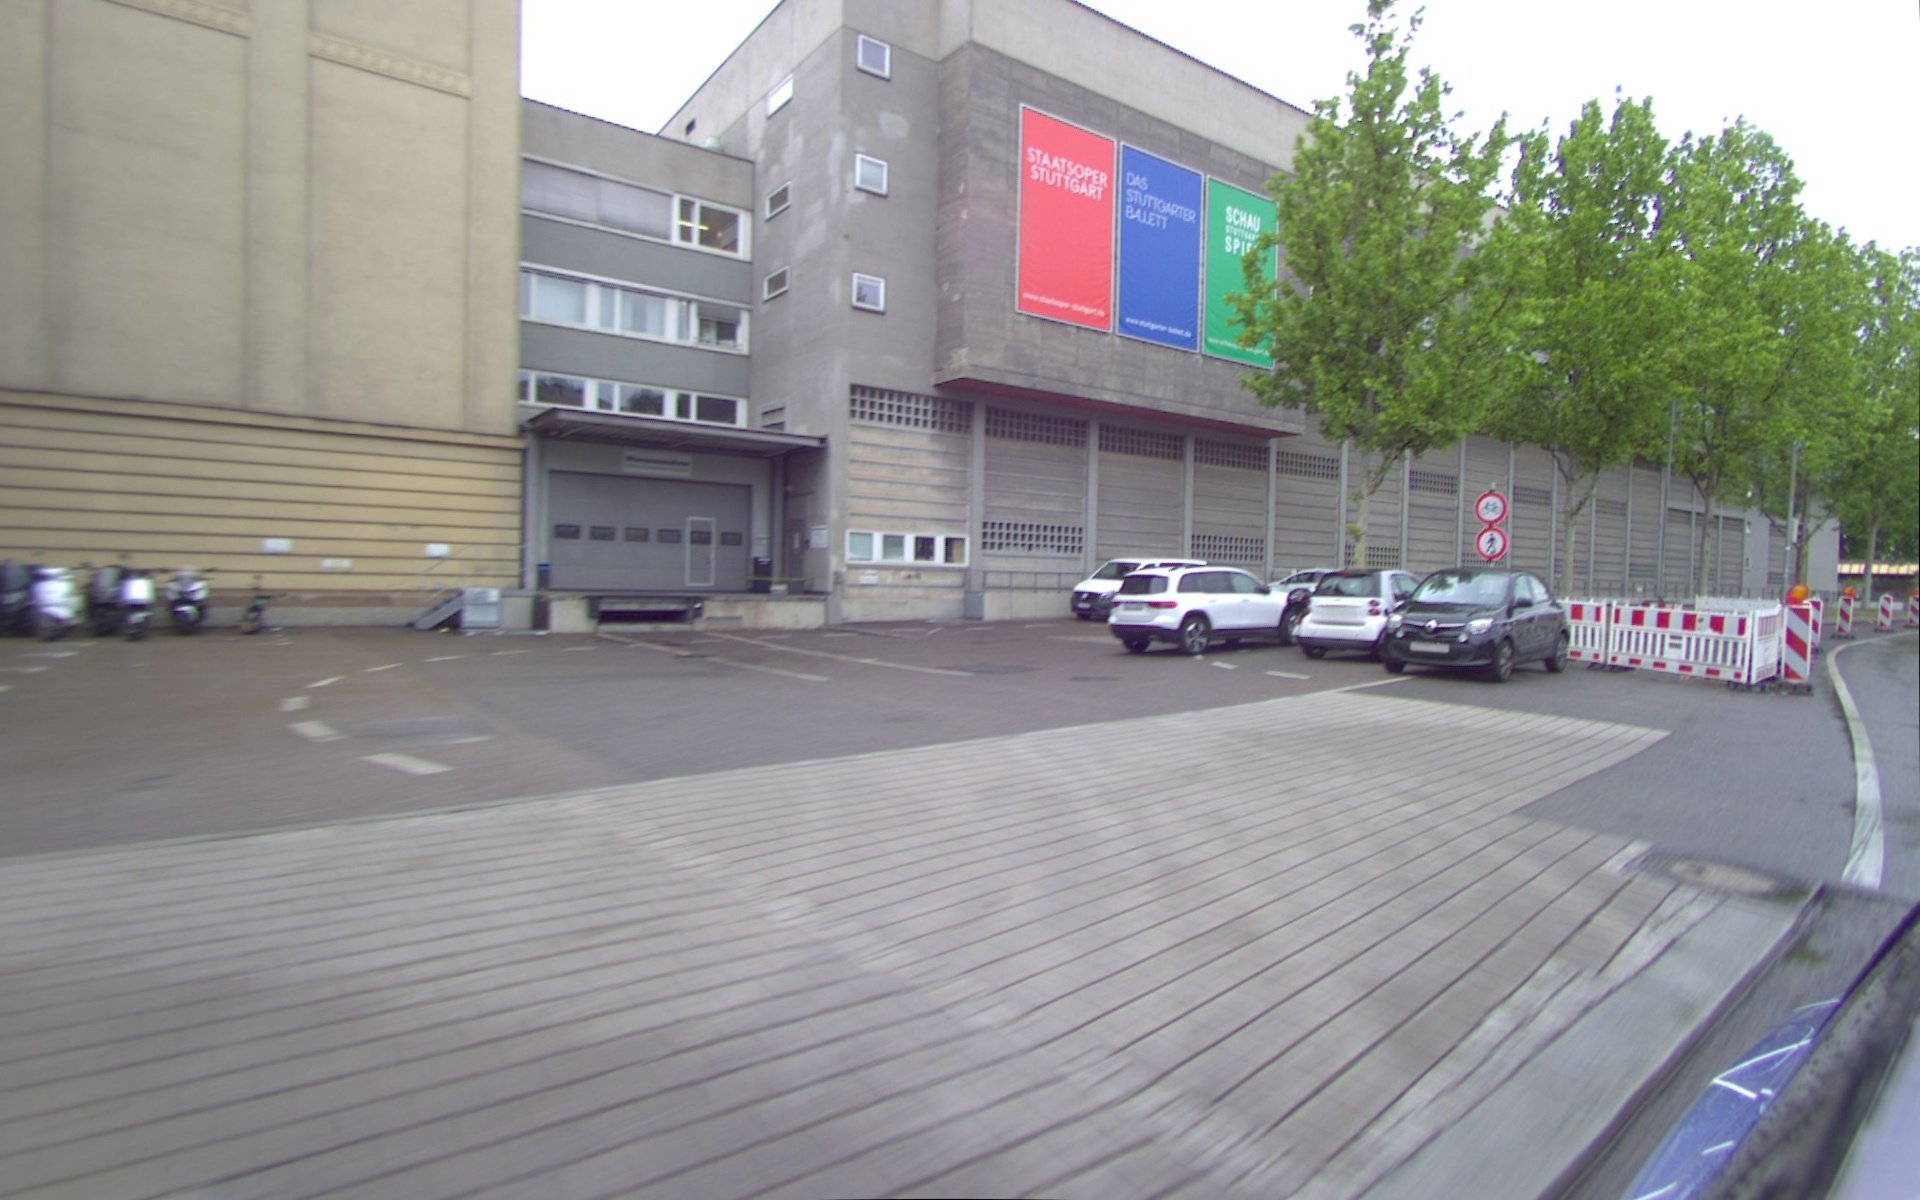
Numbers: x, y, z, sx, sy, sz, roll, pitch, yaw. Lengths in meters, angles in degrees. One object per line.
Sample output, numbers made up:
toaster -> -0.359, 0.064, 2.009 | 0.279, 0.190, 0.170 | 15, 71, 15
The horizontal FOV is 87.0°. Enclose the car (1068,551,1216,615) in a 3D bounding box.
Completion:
car -> 5.647, -0.533, 31.050 | 4.797, 1.809, 1.777 | -1, 3, -39

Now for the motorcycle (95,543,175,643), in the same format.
motorcycle -> -13.655, -0.116, 16.805 | 0.834, 1.564, 1.977 | 2, 0, -35

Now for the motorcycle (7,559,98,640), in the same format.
motorcycle -> -14.508, 0.027, 16.235 | 0.834, 1.213, 1.977 | 0, -2, -35

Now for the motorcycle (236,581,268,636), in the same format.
motorcycle -> -15.189, 0.168, 21.736 | 0.471, 1.082, 1.668 | 0, 3, -32

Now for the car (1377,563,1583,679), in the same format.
car -> 7.784, 0.210, 15.031 | 3.562, 1.513, 1.688 | -2, 2, -44

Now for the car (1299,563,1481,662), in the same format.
car -> 7.539, 0.157, 17.708 | 2.964, 1.556, 1.587 | -1, 3, -35

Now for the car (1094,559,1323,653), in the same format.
car -> 5.042, 0.124, 20.369 | 4.403, 1.705, 1.963 | 0, 0, -31

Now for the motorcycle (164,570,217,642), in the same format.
motorcycle -> -15.758, 0.096, 20.750 | 0.721, 1.383, 1.668 | 0, 3, -32

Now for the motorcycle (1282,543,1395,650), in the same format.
motorcycle -> 7.251, -0.072, 19.327 | 2.543, 1.929, 0.750 | -1, -2, -38

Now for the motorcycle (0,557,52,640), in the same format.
motorcycle -> -17.934, -0.060, 19.230 | 0.721, 1.491, 1.668 | 0, 2, -32

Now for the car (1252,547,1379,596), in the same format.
car -> 12.377, -1.037, 35.385 | 1.746, 1.599, 3.850 | 0, 3, -37

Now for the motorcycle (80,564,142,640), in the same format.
motorcycle -> -16.880, 0.005, 20.146 | 0.721, 1.423, 1.668 | 0, 3, -32
